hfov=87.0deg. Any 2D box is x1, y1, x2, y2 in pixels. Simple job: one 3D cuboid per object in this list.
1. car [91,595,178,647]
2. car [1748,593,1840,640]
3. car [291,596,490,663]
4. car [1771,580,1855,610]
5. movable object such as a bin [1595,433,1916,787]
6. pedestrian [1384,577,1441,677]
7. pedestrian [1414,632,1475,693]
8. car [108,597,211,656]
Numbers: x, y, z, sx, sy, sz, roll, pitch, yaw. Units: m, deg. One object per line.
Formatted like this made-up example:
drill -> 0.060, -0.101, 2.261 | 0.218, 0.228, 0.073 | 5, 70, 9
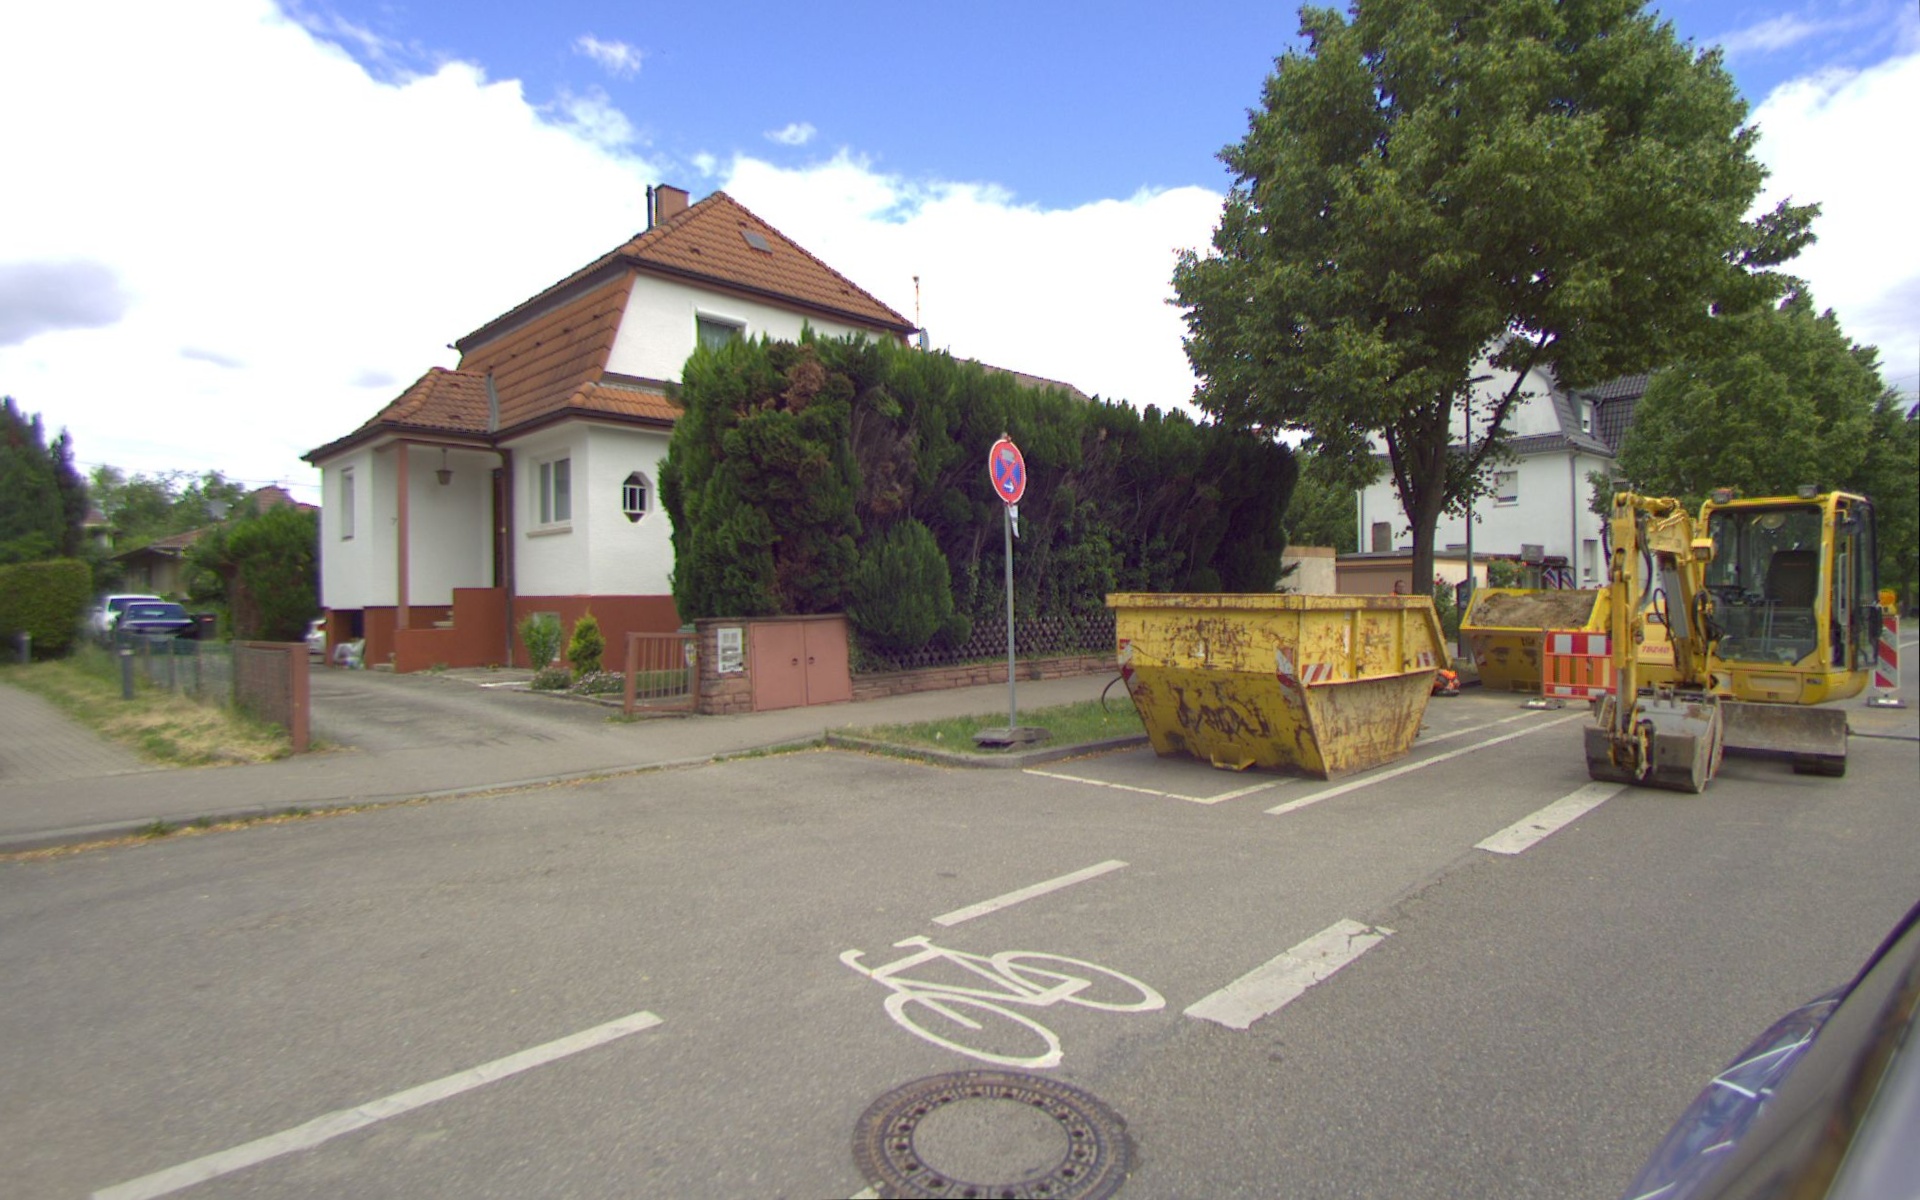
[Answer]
car -> -25.903, 0.605, 31.709 | 1.886, 1.538, 3.992 | 0, 0, -42
car -> 27.773, 0.495, 33.642 | 4.537, 1.473, 1.708 | 0, 1, -42
car -> -14.027, 0.662, 25.069 | 1.824, 1.505, 3.938 | 0, 0, 43
car -> 78.384, -0.459, 93.060 | 1.965, 2.625, 5.717 | 1, -1, -44
movable object such as a bin -> 7.449, 0.066, 9.358 | 3.676, 2.607, 1.770 | 0, 0, -43
pedestrian -> 7.714, 0.440, 17.260 | 0.633, 1.655, 0.705 | 0, 0, -43
pedestrian -> 7.458, 0.944, 15.582 | 0.711, 0.870, 0.664 | 0, 0, 41
car -> -22.104, 0.665, 27.896 | 1.966, 1.505, 3.992 | 0, 0, -42
